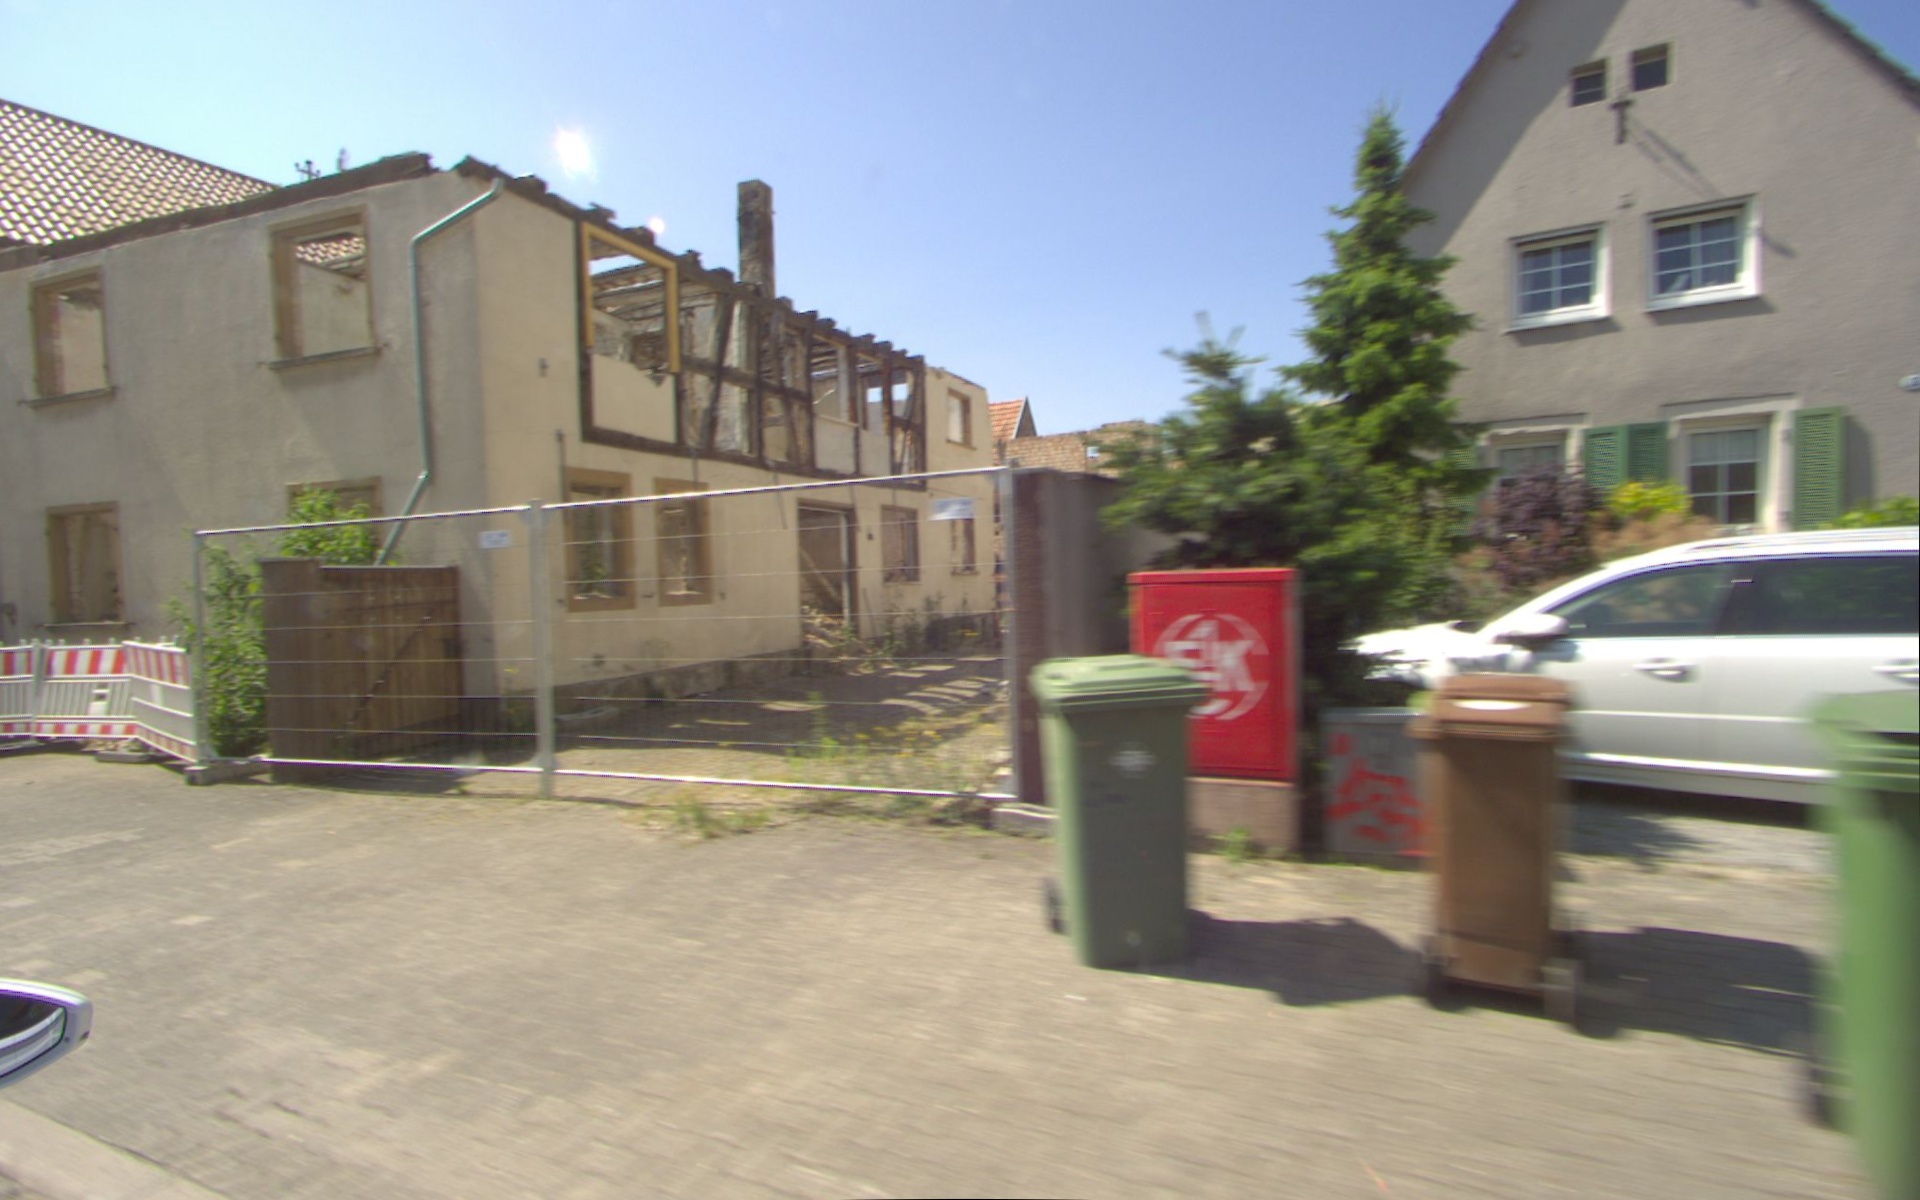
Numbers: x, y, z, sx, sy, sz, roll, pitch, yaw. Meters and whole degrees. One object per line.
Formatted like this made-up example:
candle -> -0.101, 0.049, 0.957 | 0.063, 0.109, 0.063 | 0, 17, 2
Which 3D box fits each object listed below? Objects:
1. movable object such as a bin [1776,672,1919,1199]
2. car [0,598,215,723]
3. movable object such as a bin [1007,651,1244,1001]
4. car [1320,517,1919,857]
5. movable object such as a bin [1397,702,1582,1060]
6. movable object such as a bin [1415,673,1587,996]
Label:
movable object such as a bin -> 2.175, 0.741, 2.120 | 0.629, 1.107, 0.684 | -1, 2, 34
car -> -12.989, 0.822, 13.697 | 1.838, 1.528, 4.090 | -1, 2, 21
movable object such as a bin -> 0.574, 0.767, 3.711 | 0.659, 1.086, 0.761 | -2, 1, -6
car -> 4.471, 0.376, 5.640 | 4.248, 1.549, 1.801 | -1, 2, 42
movable object such as a bin -> 1.677, 0.833, 3.160 | 0.456, 0.962, 0.443 | -1, 1, 34
movable object such as a bin -> 1.906, 0.774, 3.519 | 0.489, 0.983, 0.463 | -1, 2, 33
